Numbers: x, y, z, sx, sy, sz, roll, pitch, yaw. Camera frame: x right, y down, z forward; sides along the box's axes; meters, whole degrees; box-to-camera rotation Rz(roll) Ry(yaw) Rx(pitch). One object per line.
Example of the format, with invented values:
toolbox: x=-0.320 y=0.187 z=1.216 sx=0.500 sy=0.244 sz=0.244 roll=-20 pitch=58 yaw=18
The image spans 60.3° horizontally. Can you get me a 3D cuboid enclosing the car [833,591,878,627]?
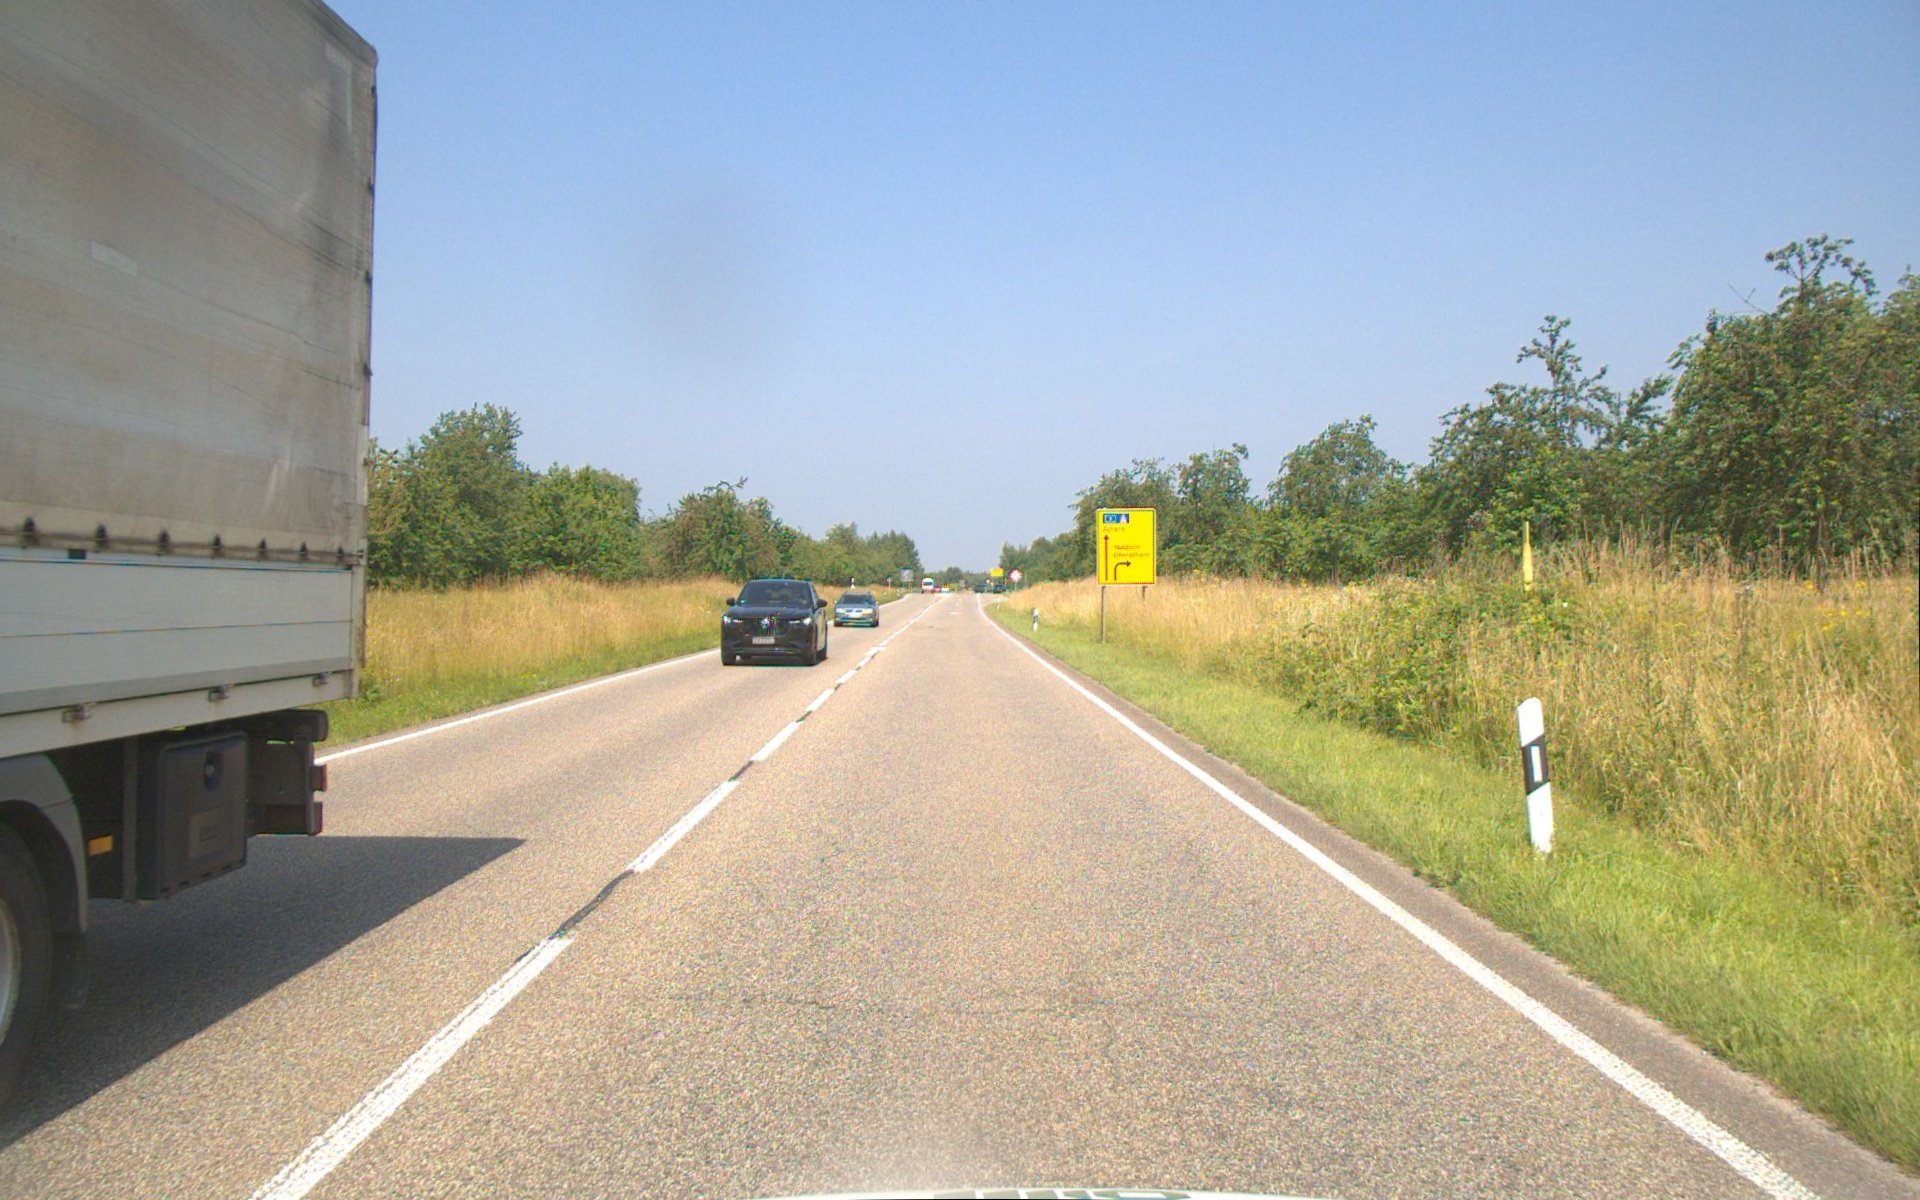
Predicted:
car: x=-4.326 y=0.334 z=69.095 sx=1.656 sy=1.433 sz=4.893 roll=0 pitch=0 yaw=-1

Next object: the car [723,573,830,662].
car: x=-3.723 y=0.328 z=34.255 sx=1.799 sy=1.707 sz=4.410 roll=0 pitch=0 yaw=-1

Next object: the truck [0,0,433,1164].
truck: x=-3.708 y=-0.518 z=2.656 sx=2.610 sy=3.906 sz=10.206 roll=0 pitch=0 yaw=-1
